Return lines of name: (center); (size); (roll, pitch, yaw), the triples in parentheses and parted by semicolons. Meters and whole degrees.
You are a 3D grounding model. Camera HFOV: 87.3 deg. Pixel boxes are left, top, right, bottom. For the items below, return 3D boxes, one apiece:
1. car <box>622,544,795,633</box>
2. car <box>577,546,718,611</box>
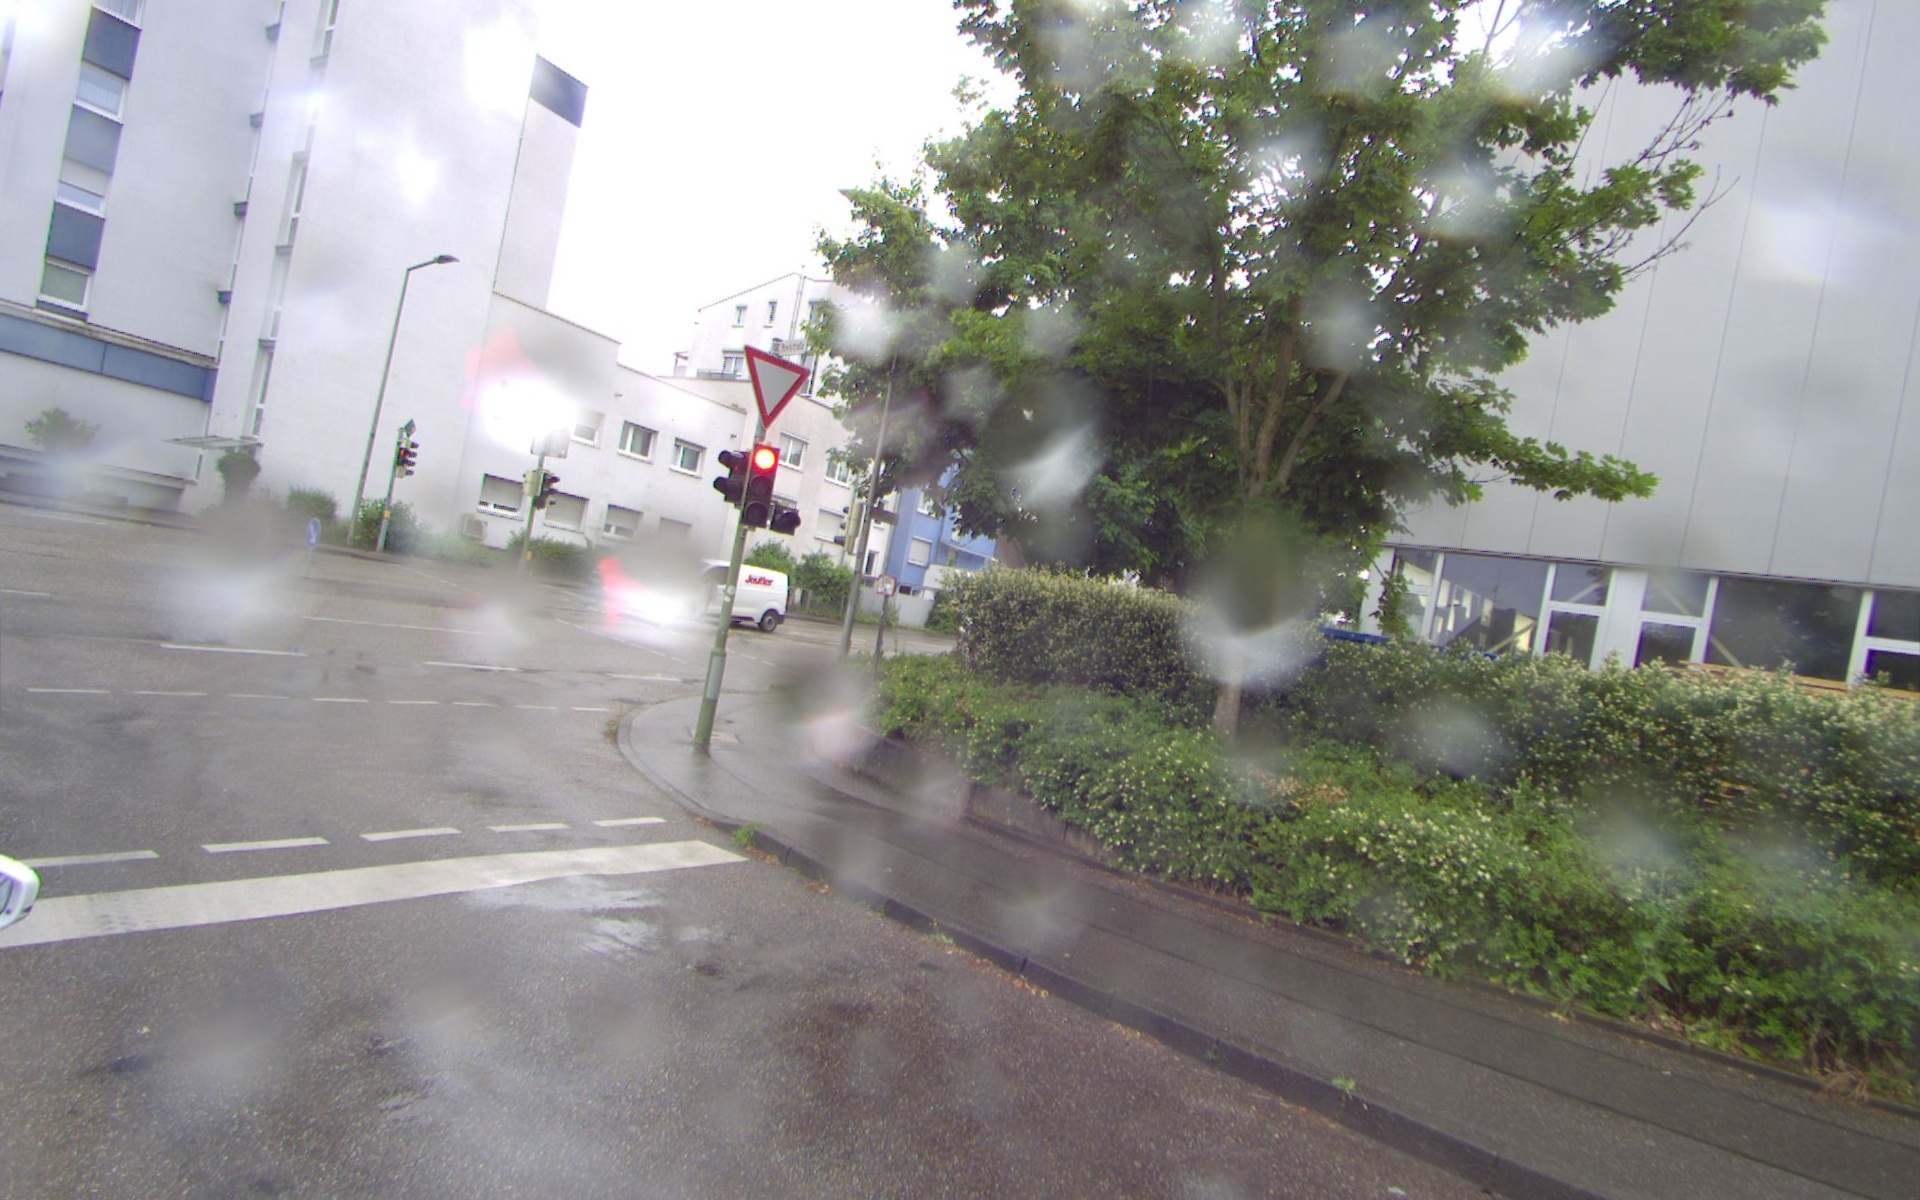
car: (-7.534, -0.293, 30.546); (1.800, 1.938, 4.816); (7, -2, 39)
car: (-10.146, -0.657, 32.889); (1.803, 1.485, 3.989); (9, 0, 36)
